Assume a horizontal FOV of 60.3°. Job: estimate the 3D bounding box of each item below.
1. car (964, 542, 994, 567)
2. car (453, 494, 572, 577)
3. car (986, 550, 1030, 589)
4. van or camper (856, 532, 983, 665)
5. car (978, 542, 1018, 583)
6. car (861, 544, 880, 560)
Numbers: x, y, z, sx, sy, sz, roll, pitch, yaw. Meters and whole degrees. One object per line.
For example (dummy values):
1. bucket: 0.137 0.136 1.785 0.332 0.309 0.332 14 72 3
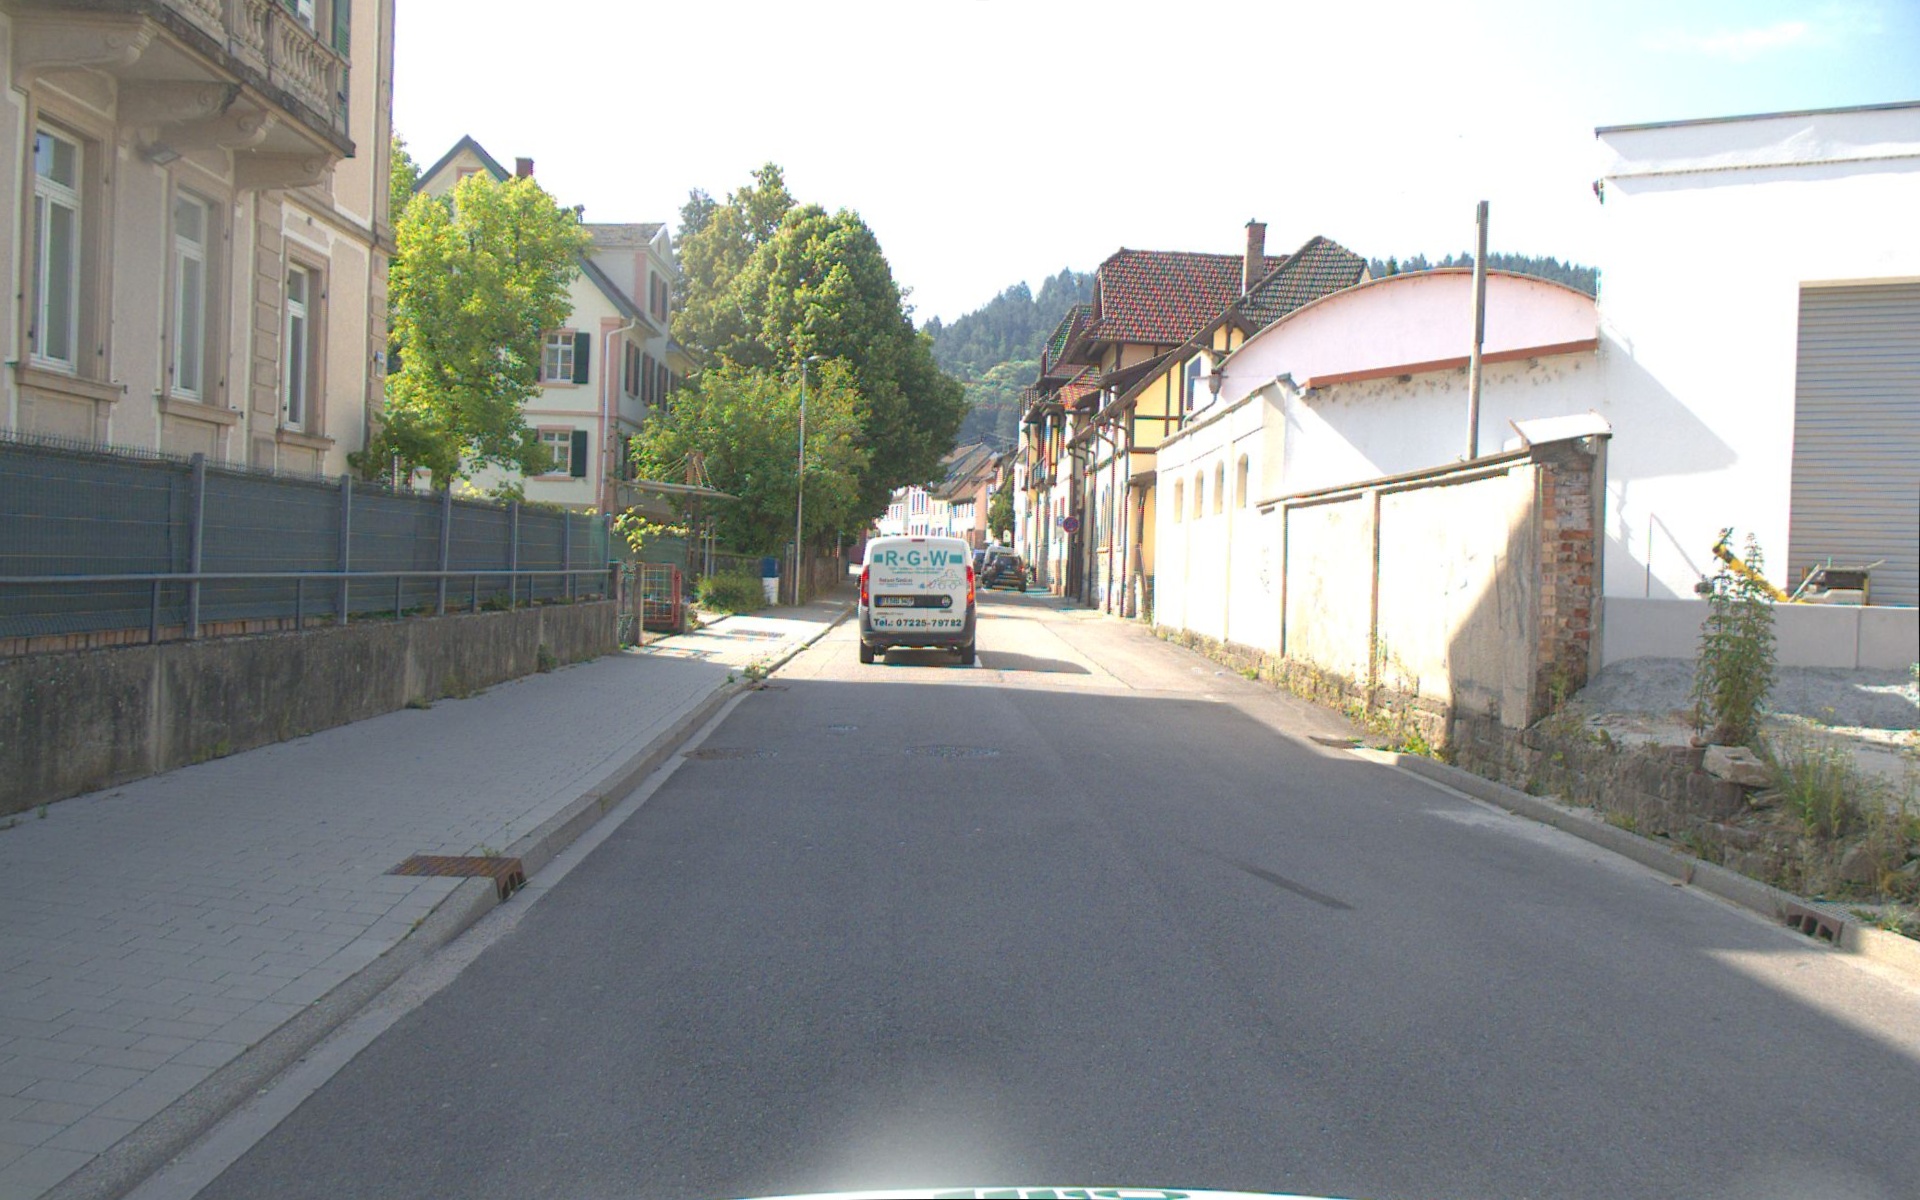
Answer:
1. car: 1.162 -2.848 103.480 1.636 1.534 3.998 1 2 -3
2. car: -11.190 -1.615 41.680 1.787 1.802 4.680 5 1 -3
3. car: 2.185 -1.445 76.864 1.774 1.624 3.927 4 2 -1
4. van or camper: -0.653 -0.073 25.818 1.791 1.876 4.187 1 1 -2
5. car: 1.992 -1.978 87.074 1.833 2.048 3.999 3 1 -2
6. car: -10.938 -5.849 202.122 1.741 1.830 3.988 2 2 -12
